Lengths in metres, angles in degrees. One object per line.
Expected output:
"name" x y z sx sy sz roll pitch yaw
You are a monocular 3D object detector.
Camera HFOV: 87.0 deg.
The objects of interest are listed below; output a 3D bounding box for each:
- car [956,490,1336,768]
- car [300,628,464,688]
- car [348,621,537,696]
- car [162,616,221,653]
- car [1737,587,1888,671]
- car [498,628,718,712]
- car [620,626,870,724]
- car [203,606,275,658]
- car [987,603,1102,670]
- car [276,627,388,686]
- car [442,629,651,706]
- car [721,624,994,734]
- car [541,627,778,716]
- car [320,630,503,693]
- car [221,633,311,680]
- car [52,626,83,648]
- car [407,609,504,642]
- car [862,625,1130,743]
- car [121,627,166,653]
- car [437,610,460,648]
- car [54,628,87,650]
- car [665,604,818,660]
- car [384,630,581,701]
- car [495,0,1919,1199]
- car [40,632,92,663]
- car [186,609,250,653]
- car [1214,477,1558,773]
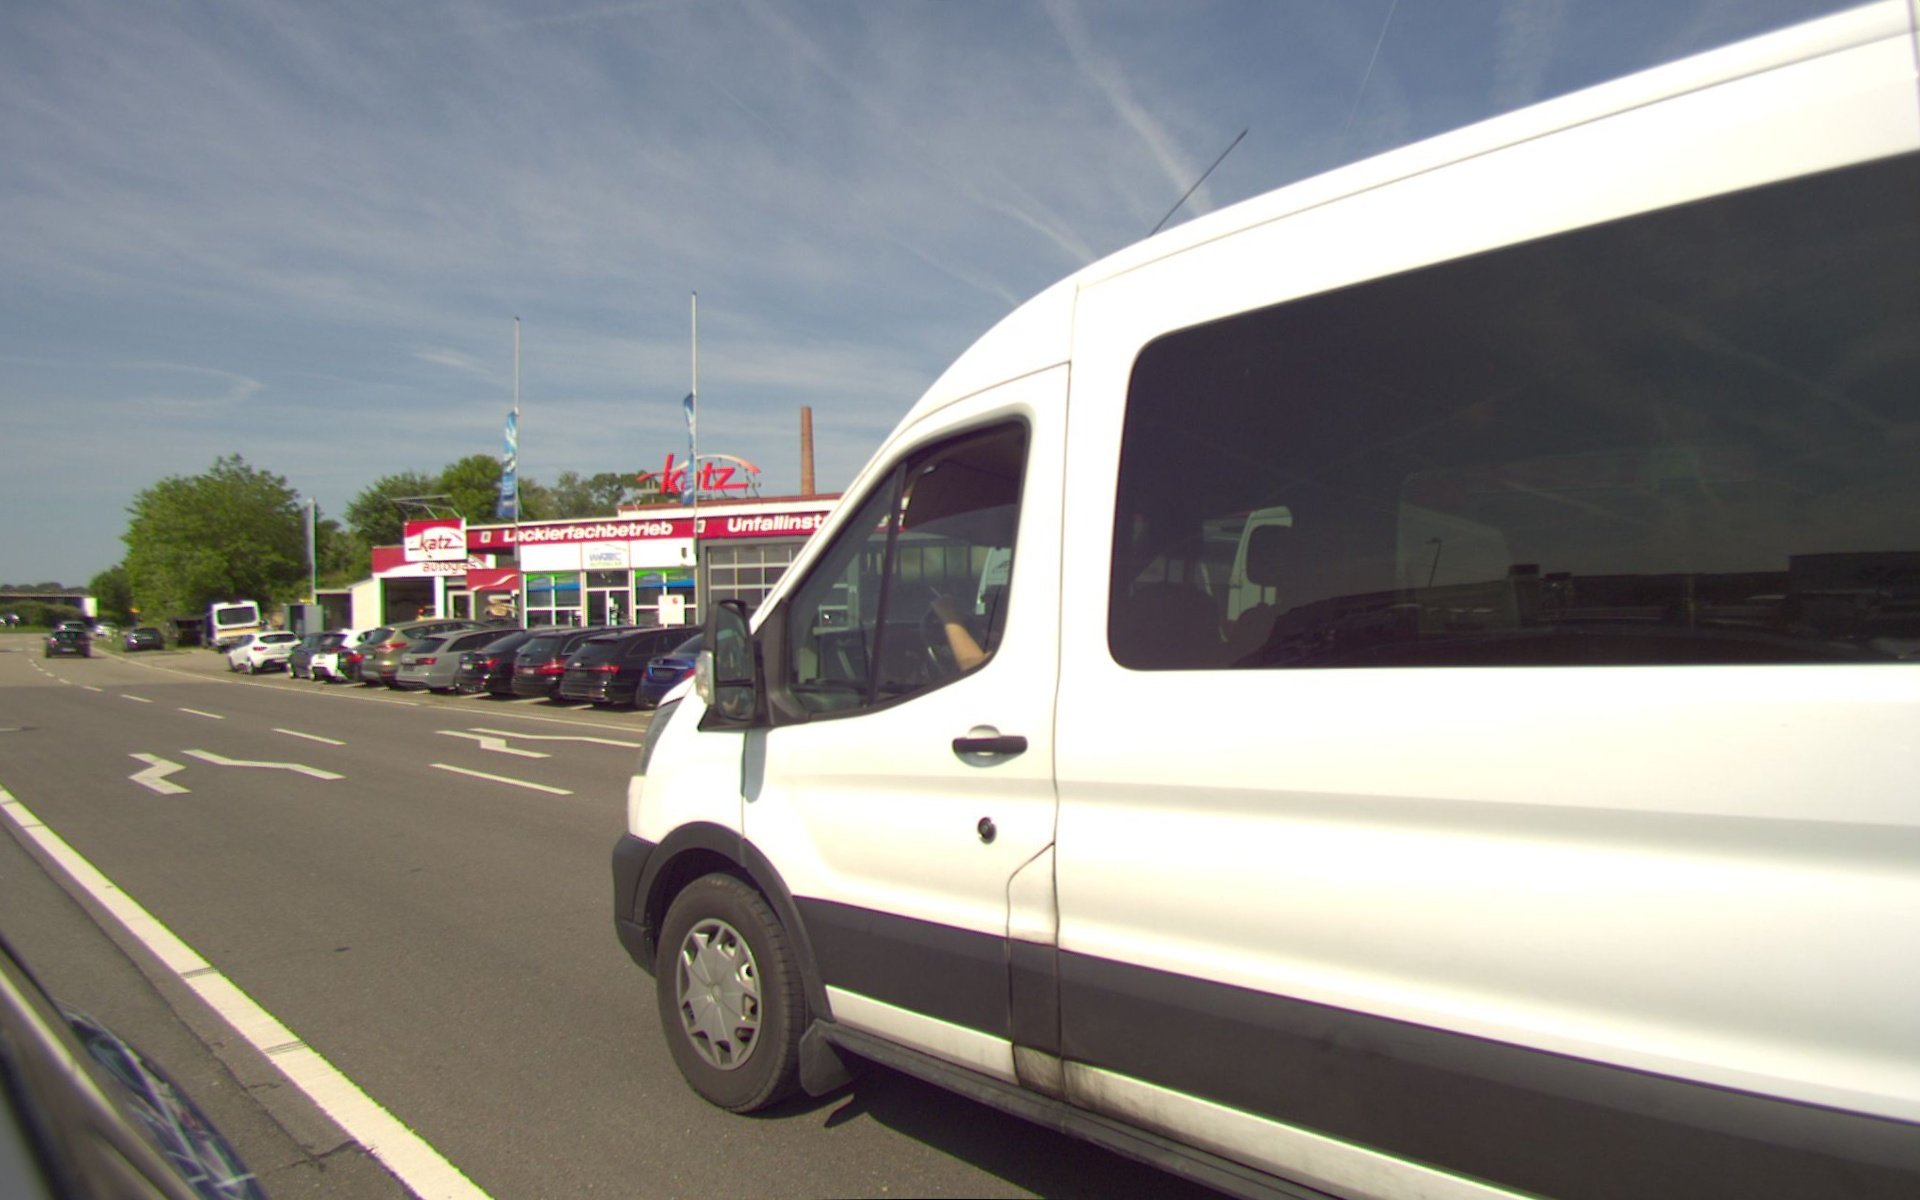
"car" 2.615 0.333 12.938 2.176 2.794 5.506 -2 -2 42
"car" -16.848 1.639 29.620 1.939 1.562 3.750 -2 -2 39
"car" -13.173 1.424 25.911 1.871 1.740 3.944 -2 -2 42
"car" -49.773 2.212 65.517 2.405 2.281 5.343 -1 -1 -44
"car" 18.383 0.597 21.770 4.039 1.620 1.887 0 -2 -42
"car" -7.147 1.358 20.778 1.949 1.511 3.826 -2 -2 43
"car" -3.642 1.207 17.636 1.905 1.465 3.945 -2 -2 41
"car" -37.706 1.649 53.083 2.399 2.563 6.060 -1 -1 -30
"car" 2.314 0.912 26.793 1.864 1.631 3.969 -1 -1 23
"car" -19.524 1.694 31.379 4.001 1.567 1.972 -2 2 44
"car" -9.090 1.425 22.465 1.756 1.493 3.943 -2 -2 43
"car" -1.517 1.148 16.179 1.873 1.479 4.202 -2 -2 42
"car" -5.640 1.276 19.332 1.945 1.463 3.945 -2 -2 41
"car" -14.915 1.623 27.670 1.998 1.537 3.947 -2 -2 39
"car" -24.598 1.956 35.835 4.000 1.425 1.742 -2 2 43
"car" -77.871 3.237 88.305 1.947 1.837 4.207 2 -3 -42
"car" -26.694 1.332 53.723 1.863 1.667 4.502 -1 -1 22
"car" 0.625 1.111 14.746 1.827 1.442 3.896 -2 -2 42
"car" -49.106 2.409 60.830 1.801 1.538 4.464 2 -3 -42
"car" -24.921 1.411 49.315 0.868 1.850 0.847 0 -1 -36
"car" -78.161 3.440 88.907 2.024 1.837 4.513 2 -3 -42
"car" -6.916 1.015 31.985 4.508 1.667 1.860 -1 -1 24
"car" -11.293 1.486 24.137 1.737 1.504 3.925 -2 -2 38
"car" 1.686 0.250 2.259 7.106 2.529 2.038 -2 -2 39
"car" -45.687 2.393 51.670 1.832 1.471 4.003 1 -2 -44
"car" -45.297 1.879 61.757 2.405 2.563 5.343 -1 -1 -44
"car" 5.525 0.297 12.589 2.116 2.860 5.647 -3 -3 42
